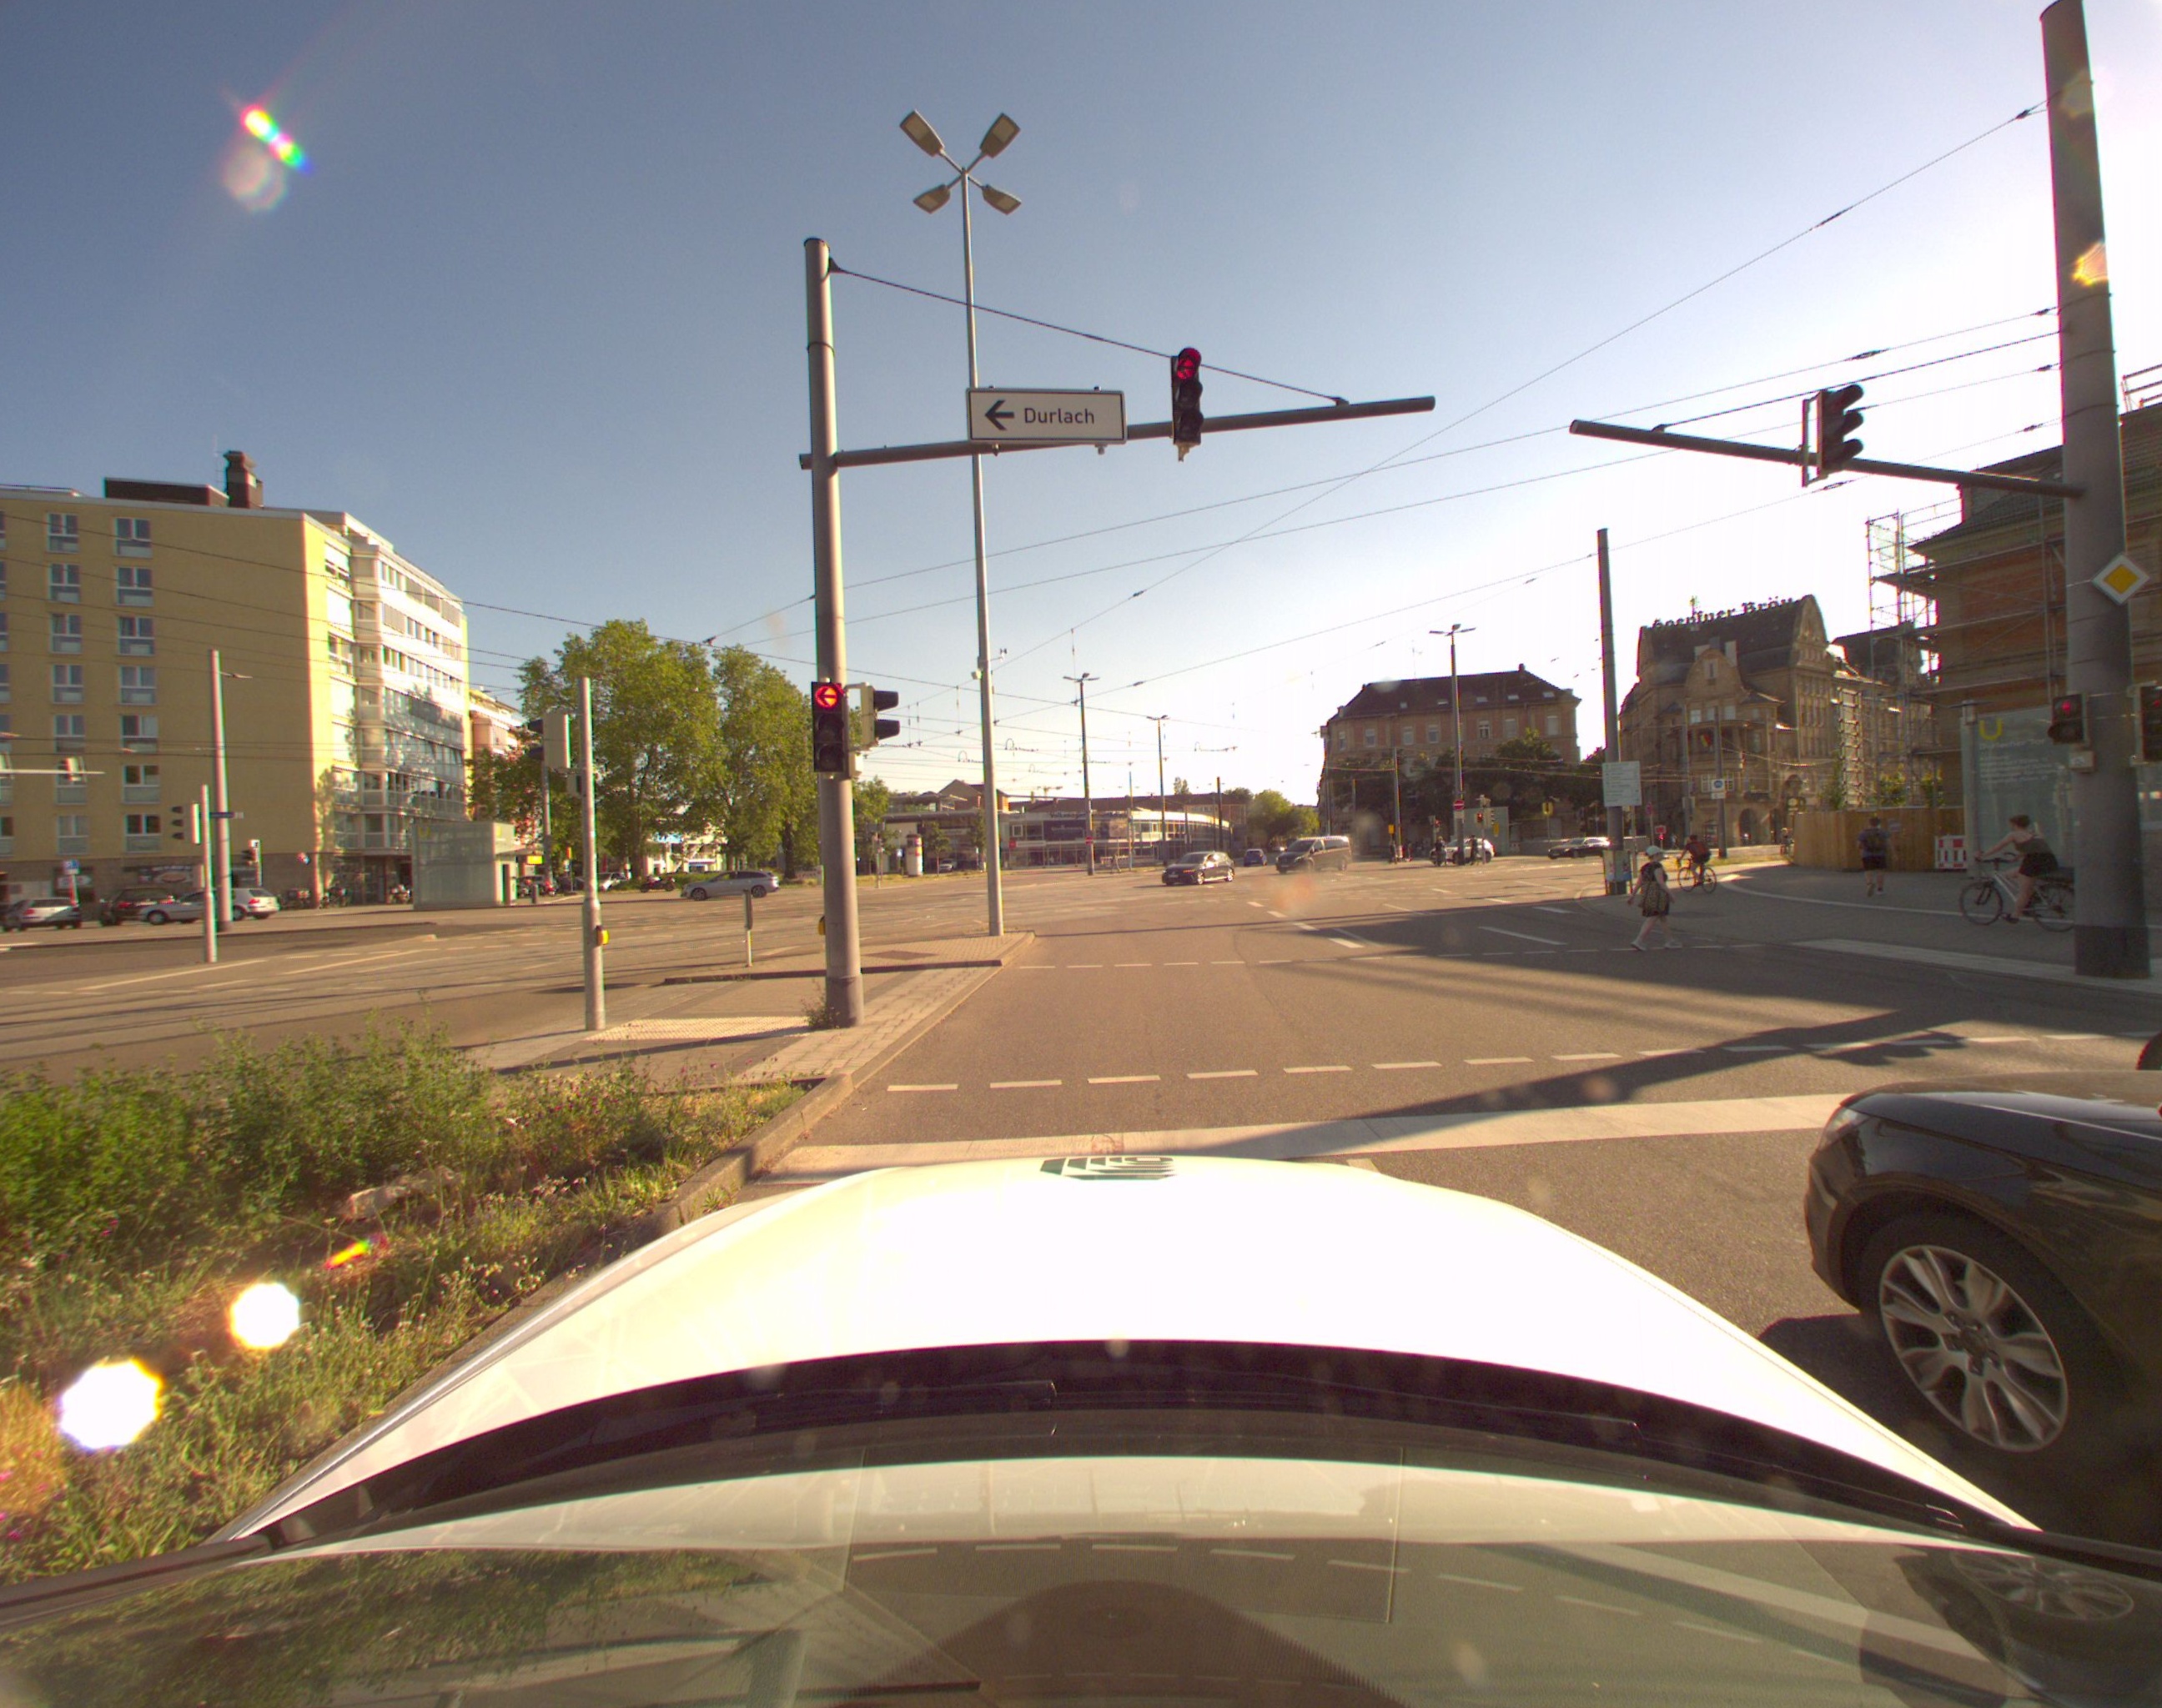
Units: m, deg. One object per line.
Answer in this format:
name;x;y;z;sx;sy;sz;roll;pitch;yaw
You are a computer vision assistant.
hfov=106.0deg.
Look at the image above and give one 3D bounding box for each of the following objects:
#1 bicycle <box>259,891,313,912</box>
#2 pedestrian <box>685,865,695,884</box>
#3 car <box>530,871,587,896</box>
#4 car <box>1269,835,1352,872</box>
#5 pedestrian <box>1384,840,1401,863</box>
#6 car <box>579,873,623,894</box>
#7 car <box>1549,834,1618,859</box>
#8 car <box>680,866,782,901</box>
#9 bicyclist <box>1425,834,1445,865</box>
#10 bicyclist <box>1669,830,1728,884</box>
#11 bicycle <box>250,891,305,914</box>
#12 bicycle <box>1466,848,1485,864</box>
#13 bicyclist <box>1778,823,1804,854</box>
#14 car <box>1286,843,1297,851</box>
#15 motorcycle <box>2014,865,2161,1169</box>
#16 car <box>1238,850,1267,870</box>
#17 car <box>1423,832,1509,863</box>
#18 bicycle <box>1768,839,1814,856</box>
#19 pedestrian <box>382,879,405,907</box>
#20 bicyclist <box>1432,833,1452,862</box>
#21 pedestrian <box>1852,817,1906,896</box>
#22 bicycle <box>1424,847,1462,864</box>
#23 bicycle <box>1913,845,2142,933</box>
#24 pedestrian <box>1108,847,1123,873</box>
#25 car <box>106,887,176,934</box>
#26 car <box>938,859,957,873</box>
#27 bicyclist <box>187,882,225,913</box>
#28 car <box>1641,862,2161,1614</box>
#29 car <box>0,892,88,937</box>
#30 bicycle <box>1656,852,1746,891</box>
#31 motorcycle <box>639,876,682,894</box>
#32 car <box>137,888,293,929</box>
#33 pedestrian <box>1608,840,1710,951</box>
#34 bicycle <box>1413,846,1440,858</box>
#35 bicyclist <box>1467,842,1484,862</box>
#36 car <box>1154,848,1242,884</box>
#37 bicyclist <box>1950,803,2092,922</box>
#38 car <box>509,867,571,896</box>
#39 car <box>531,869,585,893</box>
bicycle;-45.289;2.692;46.429;2.047;1.090;0.772;-2;0;-18
pedestrian;-41.162;2.132;85.780;0.586;2.013;0.711;-2;0;1
car;-44.783;2.516;69.881;4.016;1.857;1.834;-2;2;-33
car;12.857;-0.041;45.444;4.874;1.893;1.931;-2;0;-38
pedestrian;23.514;-0.160;61.485;0.921;1.676;0.783;-2;0;1
car;-37.424;2.272;63.629;1.850;1.452;3.981;-2;0;-14
car;34.831;-0.535;56.471;4.361;1.563;1.937;-2;2;-23
car;-17.511;1.453;40.992;4.559;1.517;1.940;-2;0;-20
bicyclist;20.815;-0.255;47.910;0.586;1.778;0.859;-2;-1;-29
bicyclist;16.520;0.094;21.816;0.717;1.384;1.076;-1;-2;2
bicycle;-44.994;2.708;45.638;2.047;1.090;0.772;-2;0;-18
bicycle;23.287;0.108;48.097;0.850;0.905;2.316;-1;2;21
bicyclist;40.279;-0.883;46.191;0.747;1.690;0.855;-2;1;-20
car;50.643;-1.711;196.086;1.795;1.655;3.919;-1;2;1
motorcycle;5.459;0.741;2.985;1.091;1.377;2.655;-1;-1;3
car;14.597;0.478;69.567;1.937;1.594;4.625;-2;0;7
car;24.596;-0.404;52.057;4.845;1.799;1.943;-2;0;-16
bicycle;40.281;-0.381;46.191;2.501;0.874;0.854;-2;2;-20
pedestrian;-42.068;2.379;49.825;0.777;1.676;0.778;-2;0;-15
bicyclist;21.366;-0.397;48.256;0.653;1.690;0.852;-2;1;-29
pedestrian;17.432;0.046;17.799;0.690;1.671;0.834;-4;-1;40
bicycle;21.451;0.073;48.271;2.310;0.905;0.852;-2;2;-30
bicycle;14.352;0.490;12.489;0.775;1.156;2.291;-5;0;0
pedestrian;2.447;0.404;58.263;0.986;1.816;0.920;-1;1;0
car;-43.643;2.560;37.785;3.948;1.857;1.865;0;2;38
car;-16.573;1.477;101.358;1.990;1.534;3.995;-1;2;-4
bicyclist;-45.131;2.236;42.028;0.925;1.559;0.958;-2;0;-14
car;3.021;0.759;1.066;1.796;1.444;3.976;-1;0;-1
car;-46.542;2.667;36.556;3.949;1.748;1.851;0;2;30
bicycle;16.528;0.472;21.790;0.717;0.952;2.250;-1;-2;2
motorcycle;-26.468;1.936;51.302;2.286;1.054;0.685;-2;1;-12
car;-37.016;2.296;34.956;4.104;1.452;1.942;-2;0;-17
pedestrian;8.802;0.602;12.426;1.092;1.606;0.697;-1;1;-9
bicycle;30.781;-0.189;72.515;2.305;0.979;0.854;-2;2;-22
bicyclist;23.268;-0.126;48.077;0.850;1.176;0.719;-1;1;22
car;5.452;0.543;37.527;1.929;1.486;4.127;-2;0;43
bicyclist;14.321;0.130;12.453;0.775;1.677;1.093;-5;0;0
car;-42.760;2.162;64.468;4.015;2.013;1.979;-2;0;-33
car;-47.240;2.422;73.656;4.016;1.857;1.834;-2;2;-33
